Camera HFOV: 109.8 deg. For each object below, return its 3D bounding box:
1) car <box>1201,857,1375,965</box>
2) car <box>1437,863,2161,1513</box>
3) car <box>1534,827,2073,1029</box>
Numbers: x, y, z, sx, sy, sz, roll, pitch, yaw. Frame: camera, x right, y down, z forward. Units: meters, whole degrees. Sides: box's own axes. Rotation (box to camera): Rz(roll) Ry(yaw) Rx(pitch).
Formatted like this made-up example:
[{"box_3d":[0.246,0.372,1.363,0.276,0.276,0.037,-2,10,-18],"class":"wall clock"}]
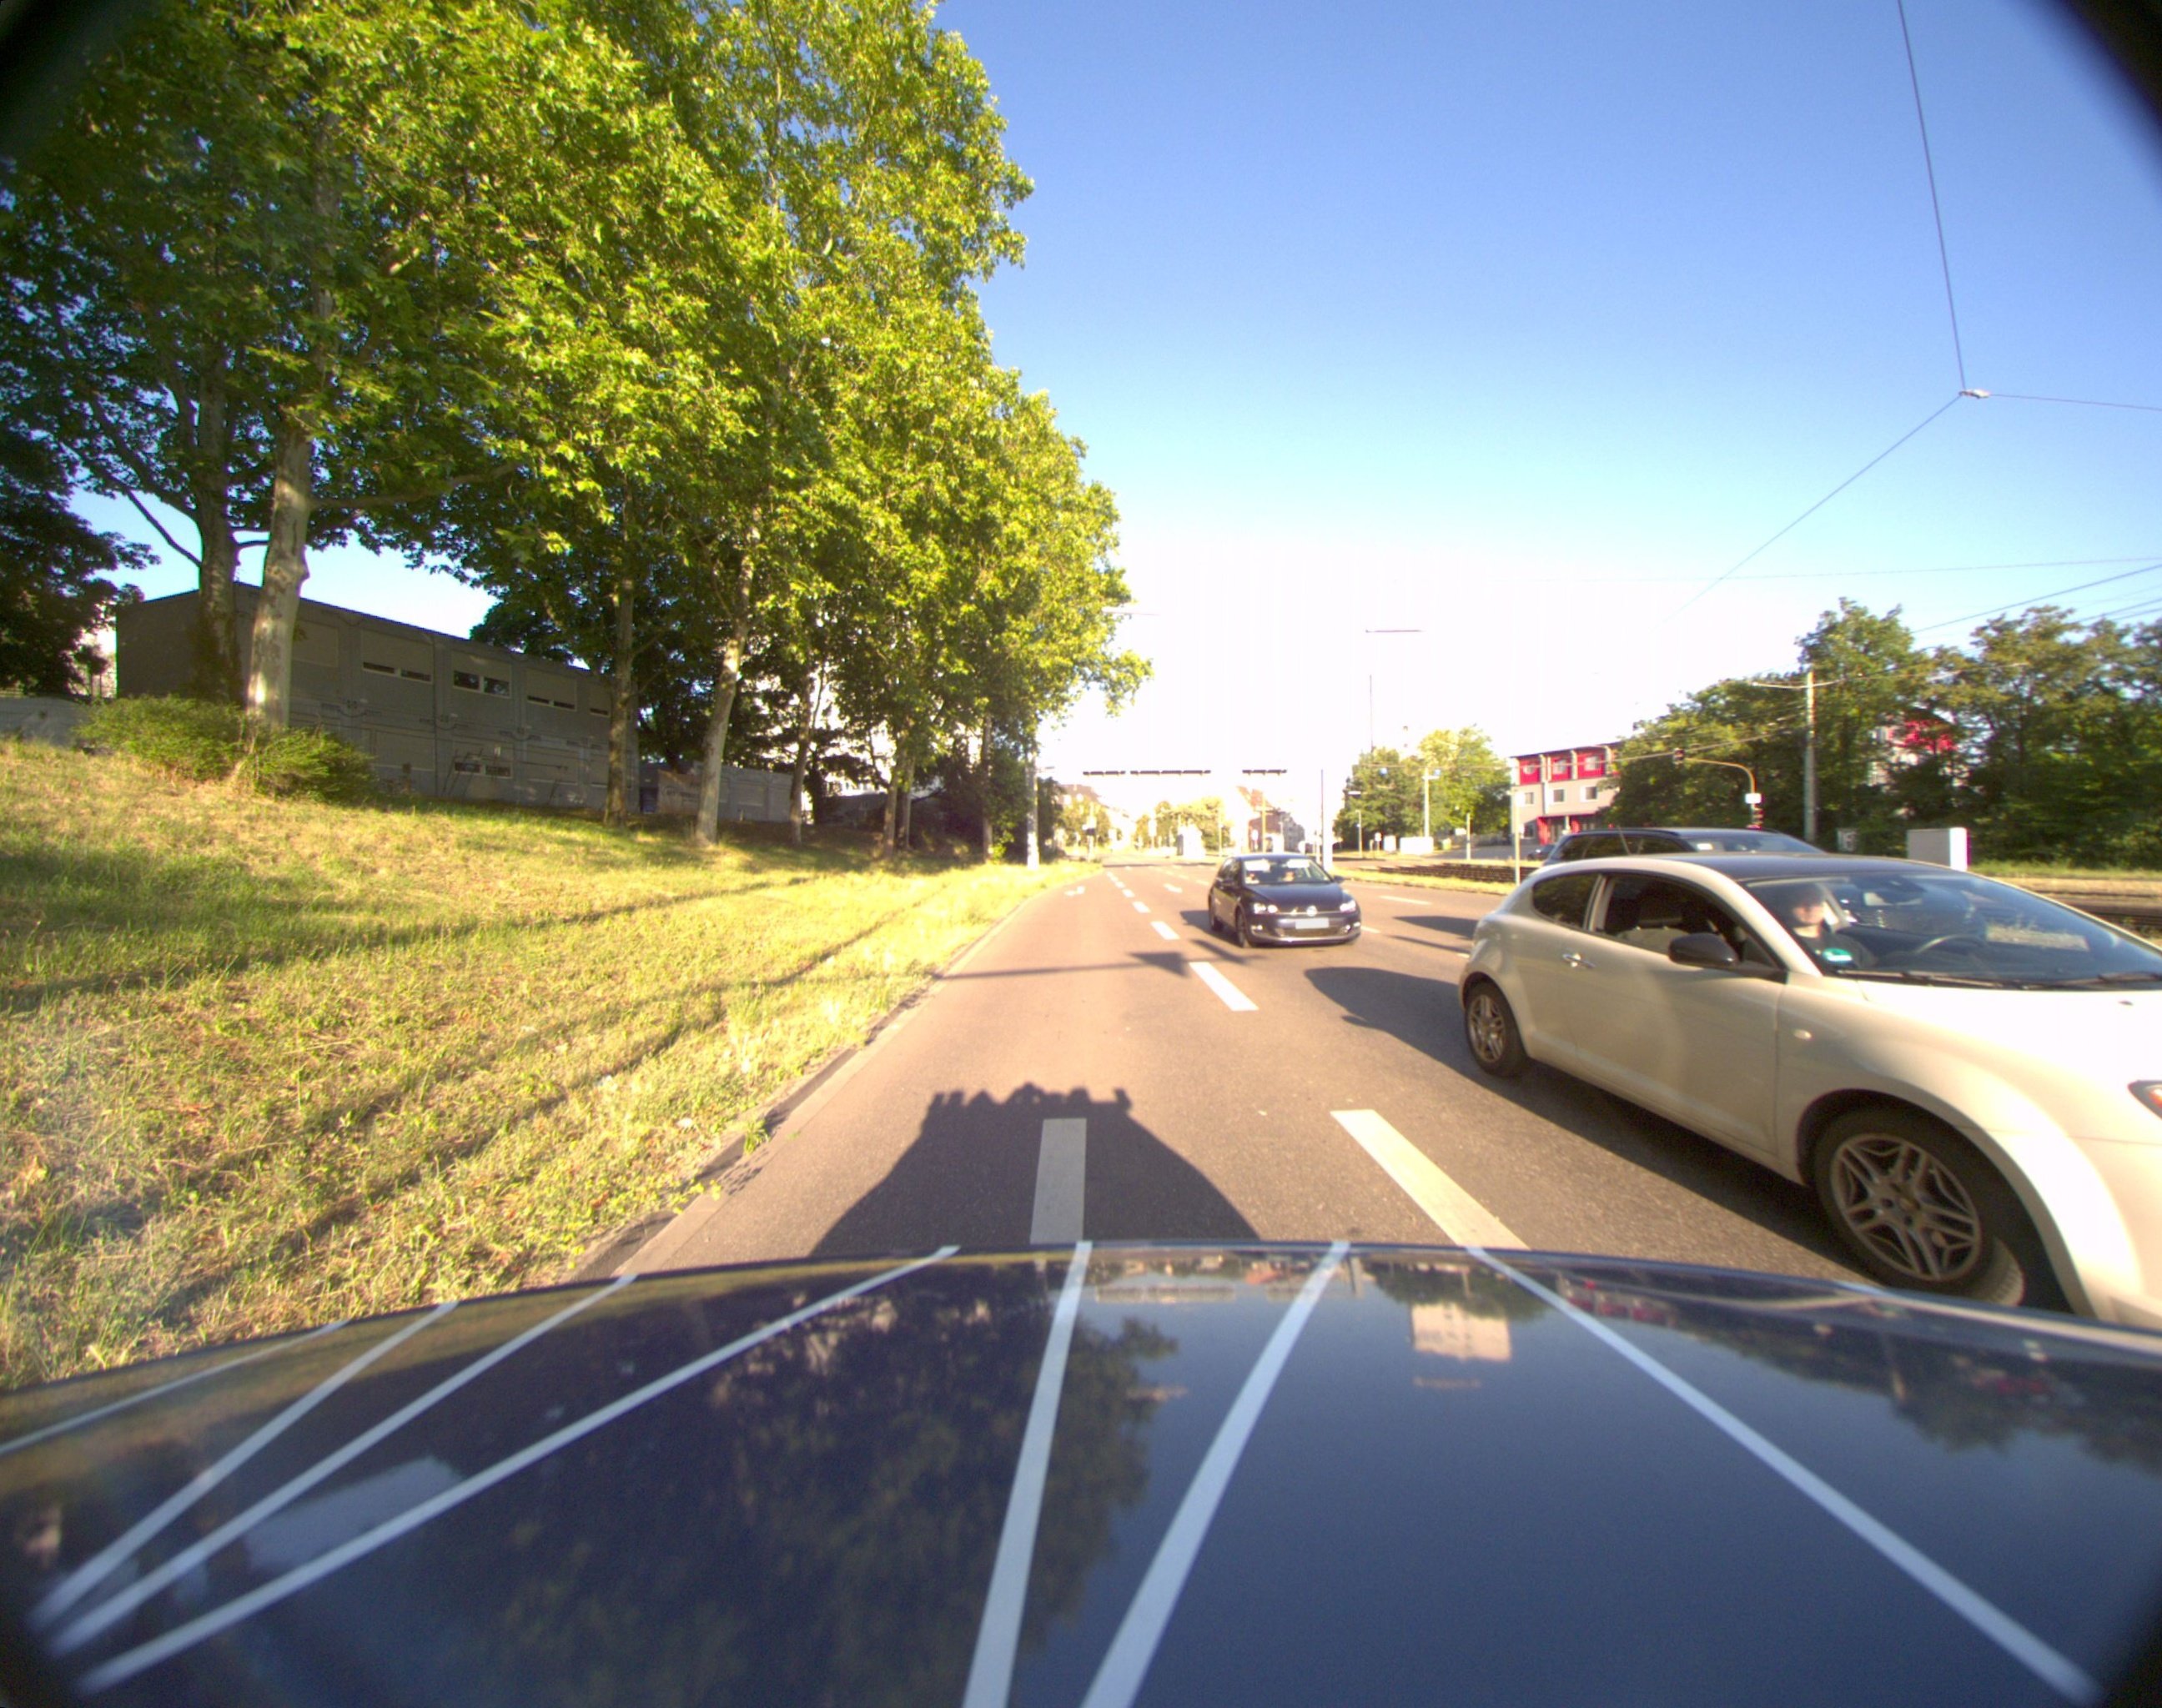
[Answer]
[{"box_3d":[3.230,0.808,12.670,1.741,1.429,3.999,-2,1,-1],"class":"car"},{"box_3d":[3.448,0.827,3.463,1.741,1.496,3.999,-1,0,-1],"class":"car"},{"box_3d":[7.268,0.608,8.437,1.905,1.652,4.276,-1,0,-1],"class":"car"}]
